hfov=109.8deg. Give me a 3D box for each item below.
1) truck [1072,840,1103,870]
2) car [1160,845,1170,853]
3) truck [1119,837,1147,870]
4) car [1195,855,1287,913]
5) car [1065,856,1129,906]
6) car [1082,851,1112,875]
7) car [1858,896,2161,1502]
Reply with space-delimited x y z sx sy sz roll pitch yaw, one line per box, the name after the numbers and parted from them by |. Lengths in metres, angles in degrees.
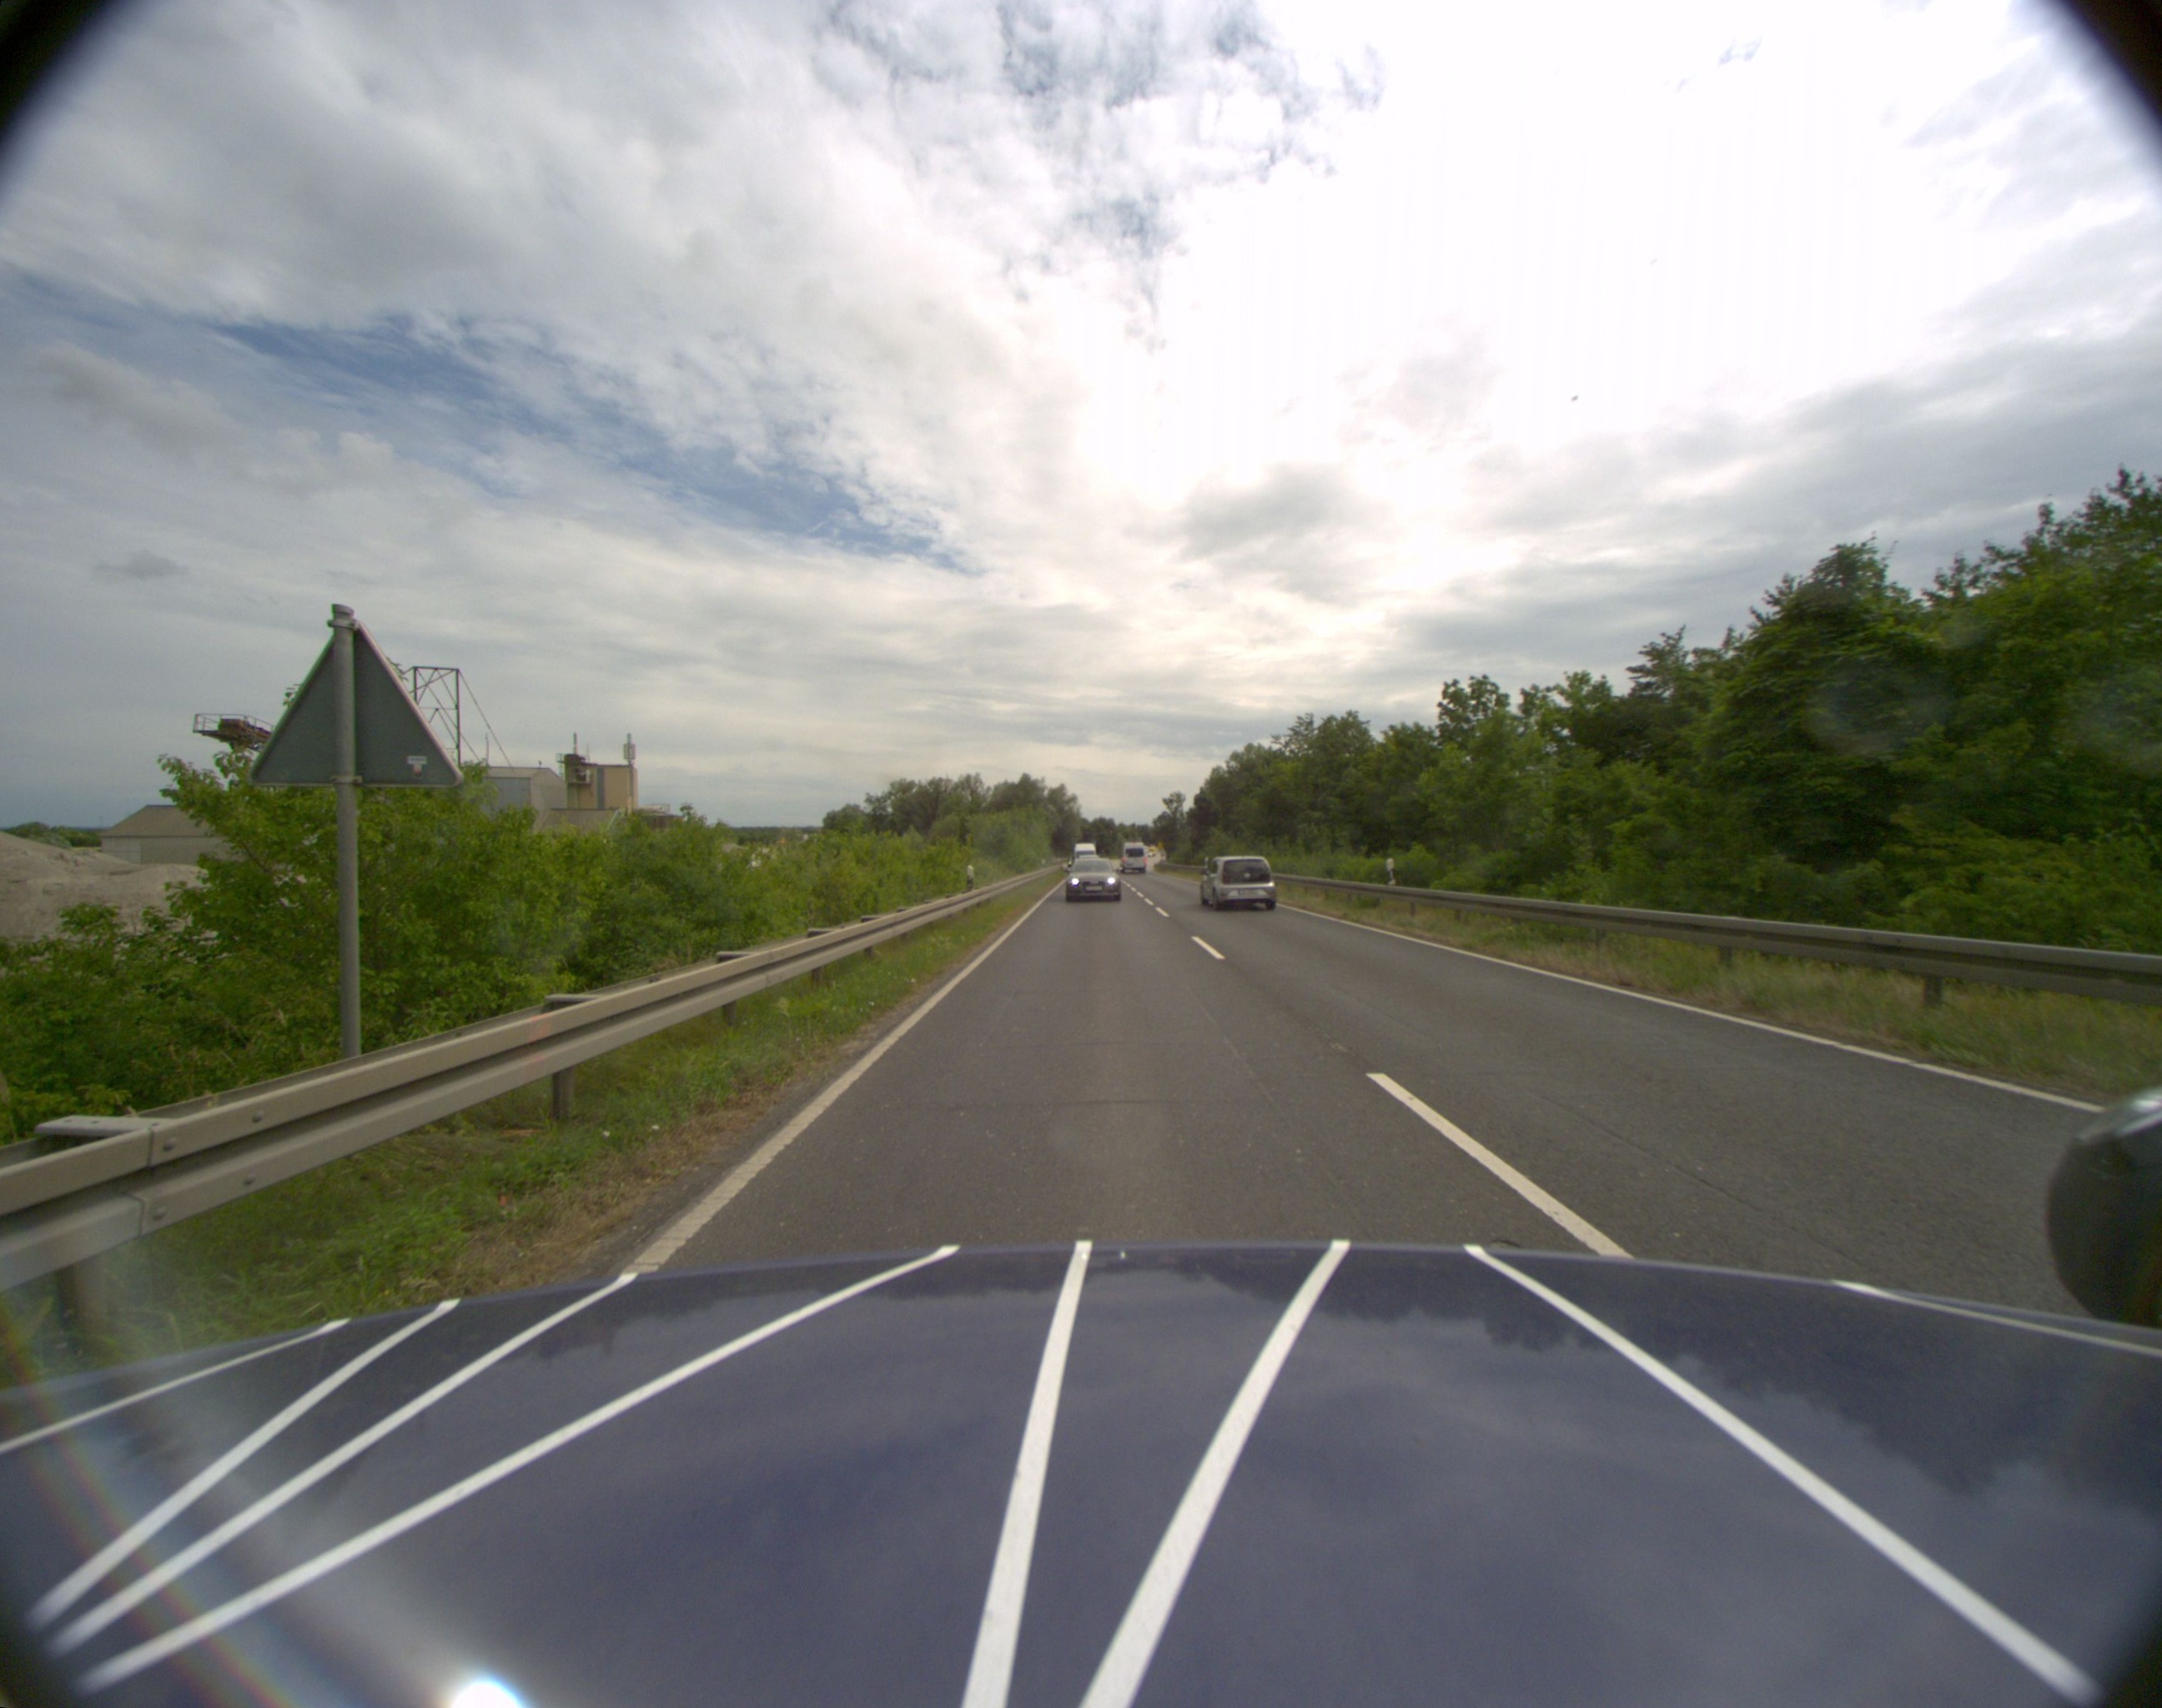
0.570 0.027 70.246 2.380 2.579 5.995 1 1 -3 | truck
19.879 -1.114 179.967 1.923 1.826 4.002 2 1 10 | car
4.518 -0.058 67.386 2.070 2.726 7.007 0 0 1 | truck
4.485 0.781 21.839 1.840 1.436 4.000 -1 1 1 | car
0.543 0.855 26.229 1.965 1.446 4.796 -2 0 1 | car
1.102 0.630 54.394 1.827 1.489 4.222 3 1 -2 | car
3.502 0.839 0.532 1.840 1.412 4.000 -1 0 1 | car
